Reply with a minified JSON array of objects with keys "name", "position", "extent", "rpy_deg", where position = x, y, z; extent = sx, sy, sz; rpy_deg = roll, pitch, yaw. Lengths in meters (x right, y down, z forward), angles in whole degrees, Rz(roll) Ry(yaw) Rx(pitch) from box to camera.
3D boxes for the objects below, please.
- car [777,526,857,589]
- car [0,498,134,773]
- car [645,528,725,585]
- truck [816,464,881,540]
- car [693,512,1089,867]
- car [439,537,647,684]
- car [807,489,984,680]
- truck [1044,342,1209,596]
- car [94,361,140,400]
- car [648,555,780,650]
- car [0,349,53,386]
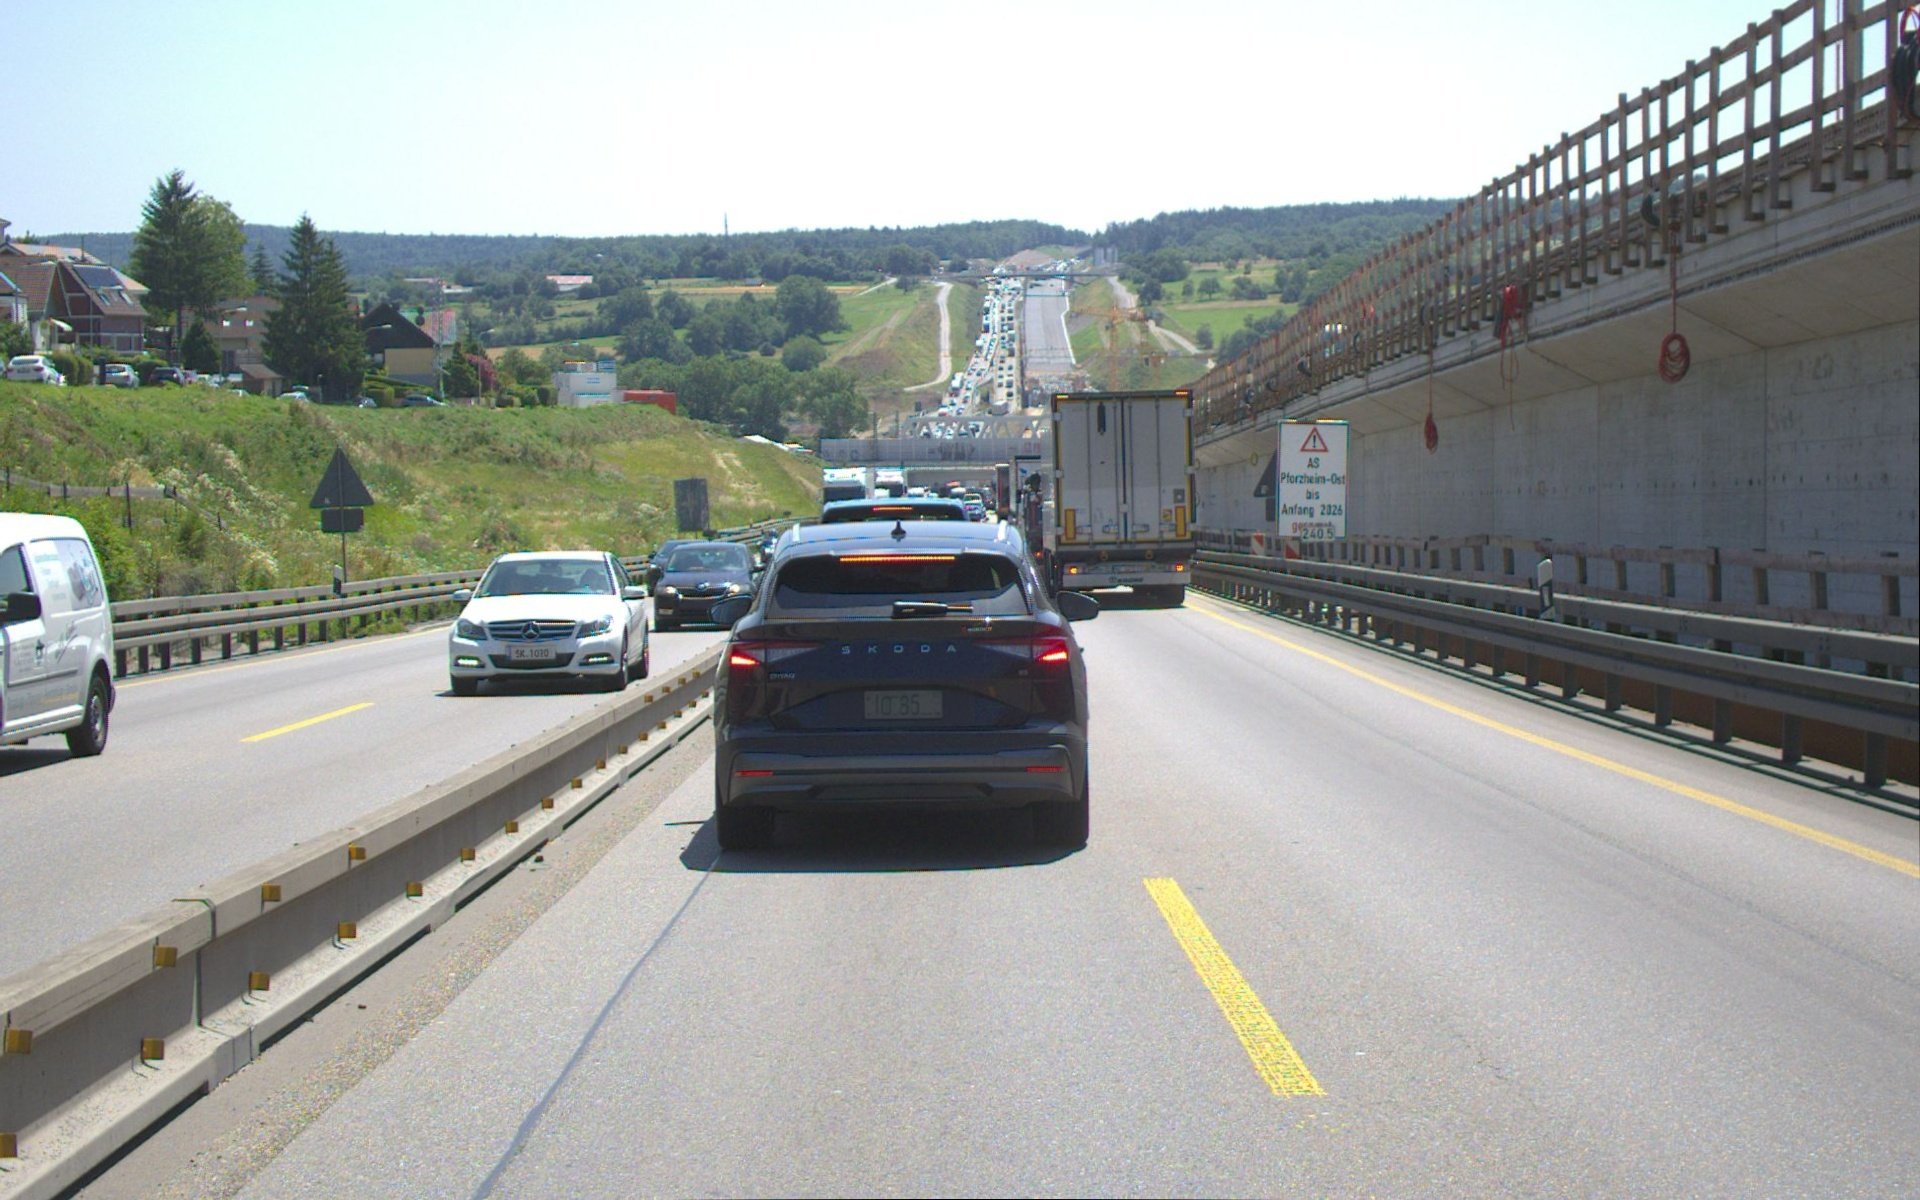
[{"name":"car","position":[-3.569,-1.065,86.354],"extent":[1.842,1.525,4.294],"rpy_deg":[-1,1,0]},{"name":"car","position":[-7.171,0.234,24.107],"extent":[1.596,1.827,4.753],"rpy_deg":[-1,1,0]},{"name":"car","position":[-7.282,-1.156,91.432],"extent":[1.813,1.443,5.007],"rpy_deg":[1,1,-1]},{"name":"truck","position":[-6.507,-5.668,199.892],"extent":[3.179,4.223,6.486],"rpy_deg":[-1,1,-7]},{"name":"car","position":[-0.340,0.376,17.626],"extent":[1.782,1.592,3.755],"rpy_deg":[-1,1,-1]},{"name":"car","position":[-4.319,0.082,36.146],"extent":[1.732,1.433,4.259],"rpy_deg":[1,1,-1]},{"name":"car","position":[-0.719,-0.189,36.596],"extent":[1.749,1.888,3.755],"rpy_deg":[1,1,-2]},{"name":"truck","position":[3.160,-2.438,68.367],"extent":[2.846,4.599,11.811],"rpy_deg":[0,0,1]},{"name":"car","position":[-41.919,-10.898,171.055],"extent":[1.924,1.722,4.001],"rpy_deg":[-1,1,-10]},{"name":"car","position":[-4.099,0.036,57.906],"extent":[1.606,1.441,4.669],"rpy_deg":[-3,0,3]},{"name":"car","position":[-41.150,-10.236,151.420],"extent":[1.993,1.315,4.001],"rpy_deg":[2,1,-10]}]
